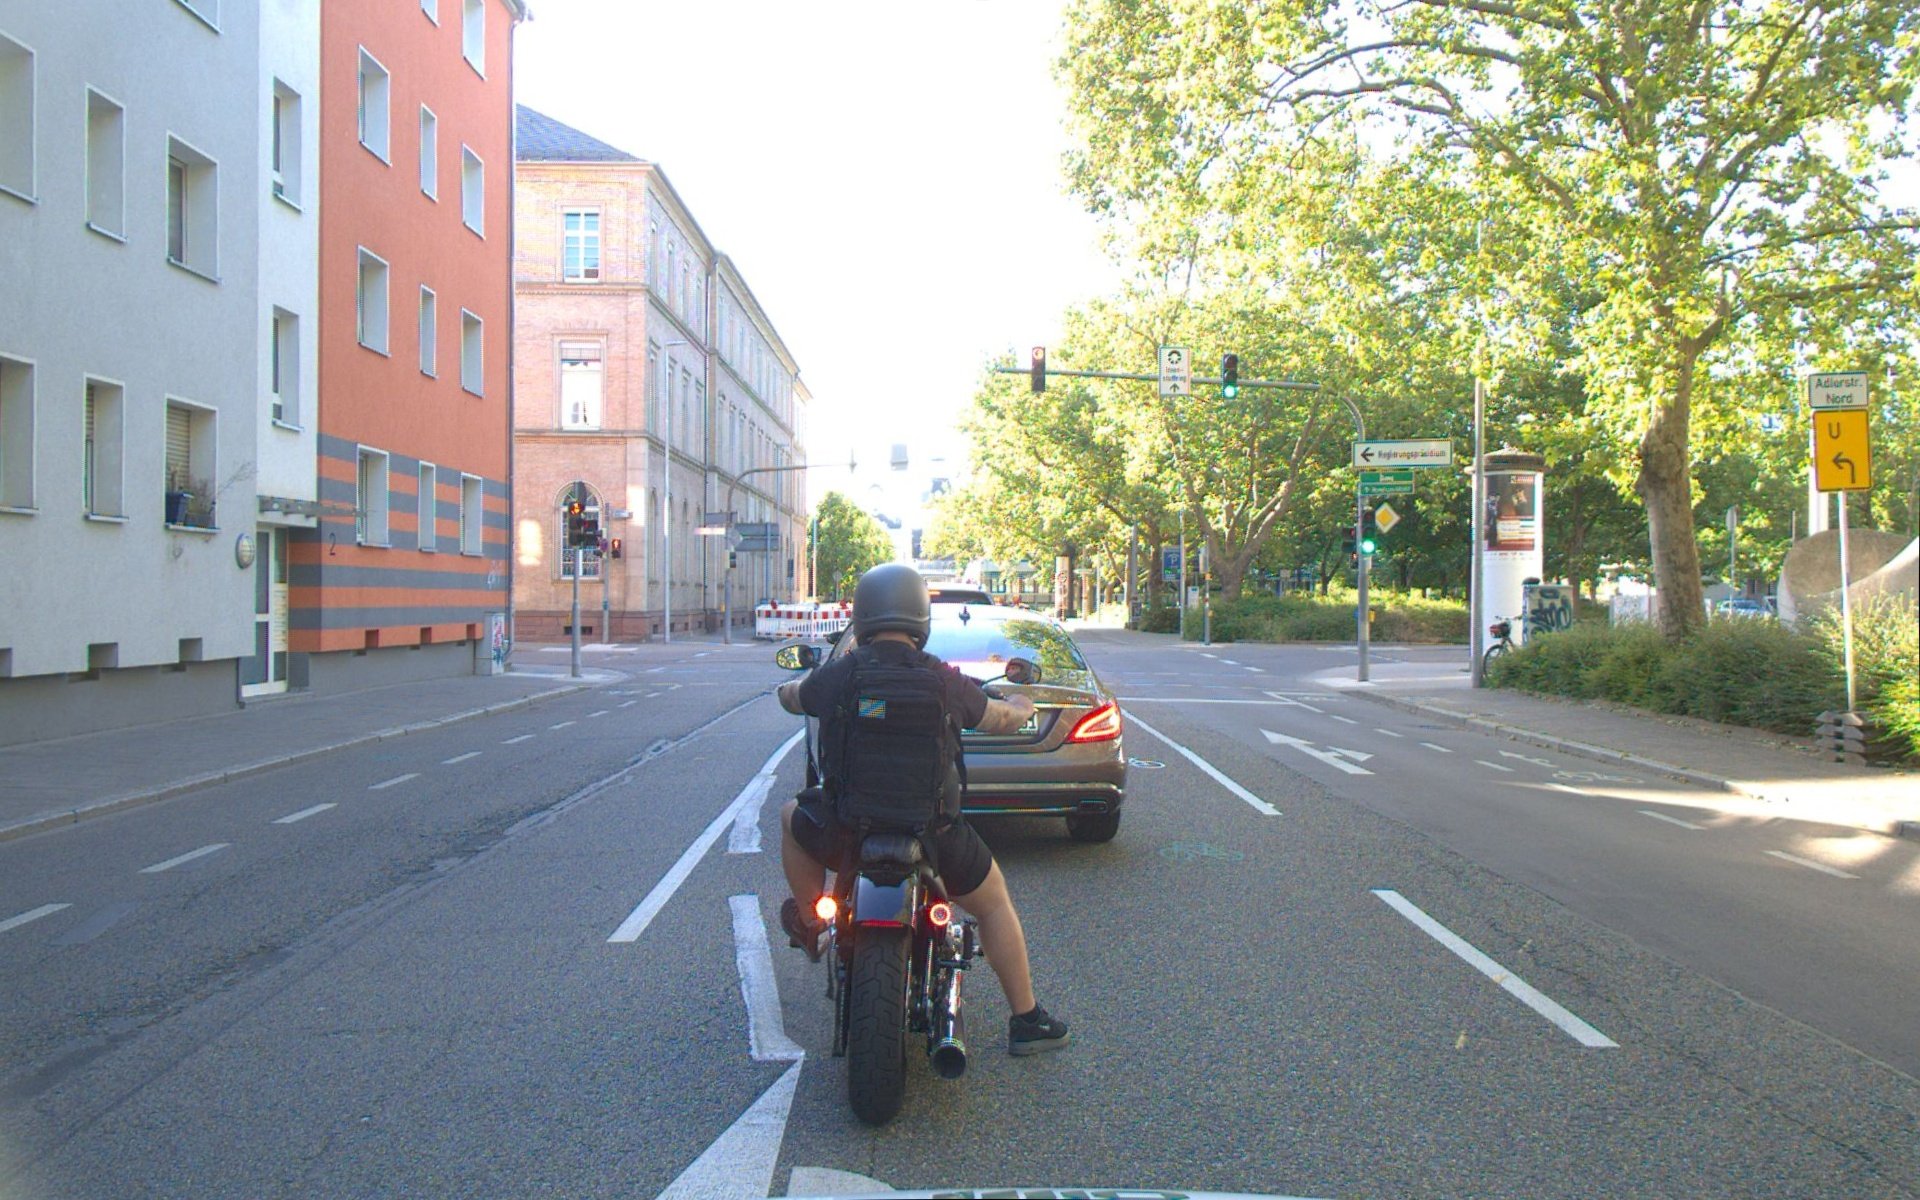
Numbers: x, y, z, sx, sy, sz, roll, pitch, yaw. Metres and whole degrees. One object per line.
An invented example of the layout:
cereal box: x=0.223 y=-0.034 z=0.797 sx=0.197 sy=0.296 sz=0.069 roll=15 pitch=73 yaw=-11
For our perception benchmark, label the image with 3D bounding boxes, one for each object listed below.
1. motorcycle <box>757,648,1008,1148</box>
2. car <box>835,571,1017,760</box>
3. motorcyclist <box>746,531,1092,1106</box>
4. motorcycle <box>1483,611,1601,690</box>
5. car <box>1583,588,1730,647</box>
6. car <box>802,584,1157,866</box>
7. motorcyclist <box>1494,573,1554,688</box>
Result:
motorcycle: x=-0.219 y=0.821 z=5.413 sx=0.646 sy=1.261 sz=2.057 roll=1 pitch=0 yaw=-1
car: x=-0.331 y=0.604 z=16.966 sx=1.618 sy=1.681 sz=3.999 roll=1 pitch=0 yaw=-1
motorcyclist: x=-0.123 y=0.633 z=5.323 sx=0.970 sy=1.639 sz=1.120 roll=1 pitch=0 yaw=-1
motorcycle: x=9.776 y=0.839 z=27.821 sx=1.743 sy=1.265 sz=0.723 roll=1 pitch=0 yaw=4
car: x=21.991 y=0.538 z=52.291 sx=3.907 sy=1.803 sz=1.737 roll=0 pitch=0 yaw=-3
car: x=-0.085 y=0.688 z=11.123 sx=1.790 sy=1.512 sz=4.326 roll=1 pitch=0 yaw=-7
motorcyclist: x=9.484 y=0.507 z=27.832 sx=0.805 sy=1.896 sz=0.672 roll=1 pitch=-1 yaw=4
